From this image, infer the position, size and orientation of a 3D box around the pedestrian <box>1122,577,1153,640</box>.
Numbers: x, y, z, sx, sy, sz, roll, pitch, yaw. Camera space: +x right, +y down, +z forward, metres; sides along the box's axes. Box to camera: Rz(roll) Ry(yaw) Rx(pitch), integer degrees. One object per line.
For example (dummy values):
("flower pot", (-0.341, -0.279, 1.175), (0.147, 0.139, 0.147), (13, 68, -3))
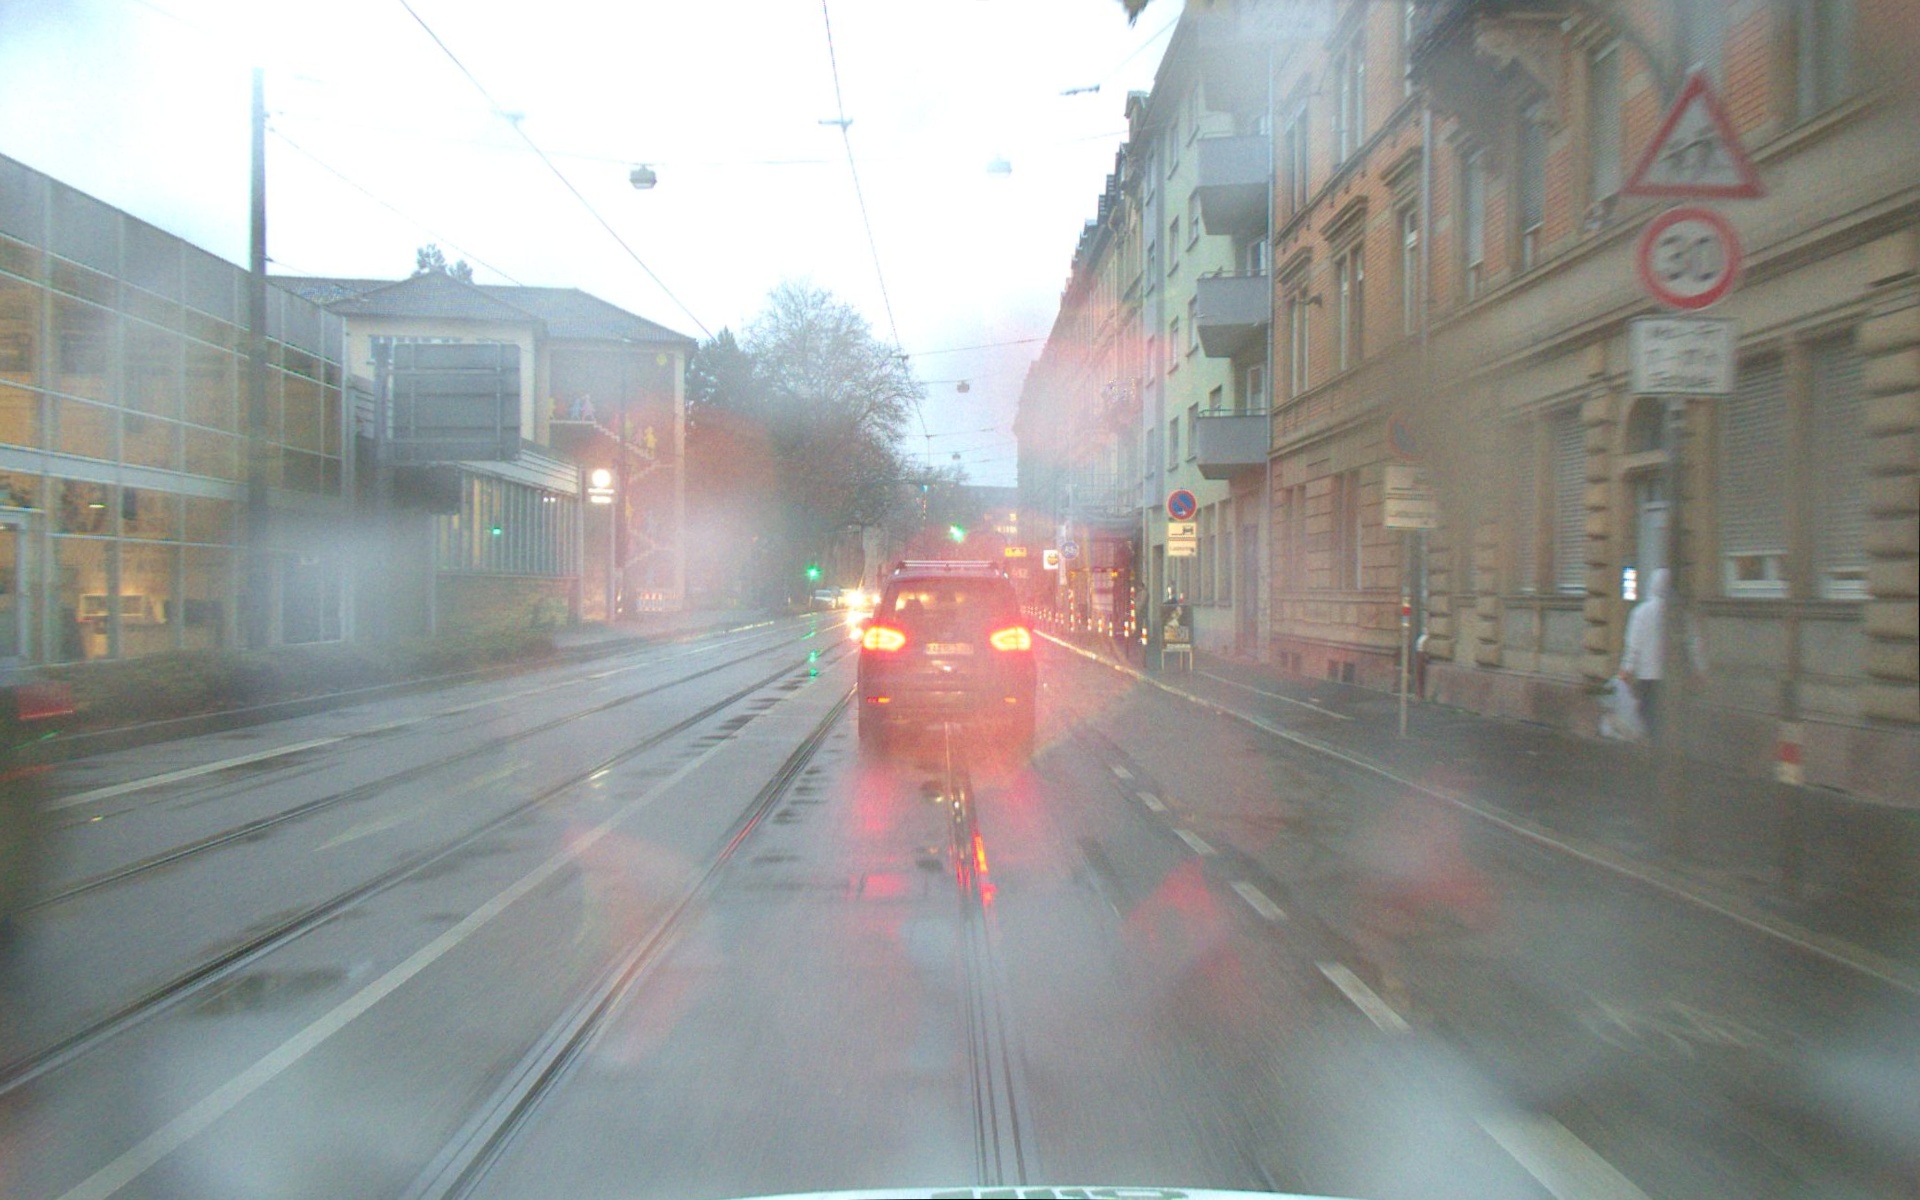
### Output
("pedestrian", (5.262, 0.264, 49.077), (0.592, 1.850, 0.769), (1, -1, -28))

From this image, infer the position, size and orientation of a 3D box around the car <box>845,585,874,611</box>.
("car", (-6.909, -0.140, 114.222), (1.837, 1.739, 4.759), (-1, 0, -1))

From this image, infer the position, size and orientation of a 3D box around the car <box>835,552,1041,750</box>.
("car", (-0.140, 0.479, 17.707), (1.952, 1.874, 4.001), (0, 0, 2))

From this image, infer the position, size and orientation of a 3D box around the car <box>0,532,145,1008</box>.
("car", (-4.165, 0.584, 4.340), (1.803, 1.606, 4.442), (0, 0, 1))

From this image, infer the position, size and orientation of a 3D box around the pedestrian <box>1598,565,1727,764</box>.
("pedestrian", (5.905, 0.527, 13.941), (0.770, 1.625, 0.742), (0, 0, 0))

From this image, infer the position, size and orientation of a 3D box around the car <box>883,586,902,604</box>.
("car", (-5.857, -0.459, 143.634), (1.499, 1.507, 3.561), (0, 0, 0))

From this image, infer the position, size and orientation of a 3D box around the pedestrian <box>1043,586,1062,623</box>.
("pedestrian", (4.356, 0.229, 78.086), (0.817, 1.731, 0.954), (1, 0, 8))

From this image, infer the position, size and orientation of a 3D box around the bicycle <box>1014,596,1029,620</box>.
("bicycle", (3.054, 0.413, 82.518), (0.670, 1.176, 2.188), (1, 0, -1))
